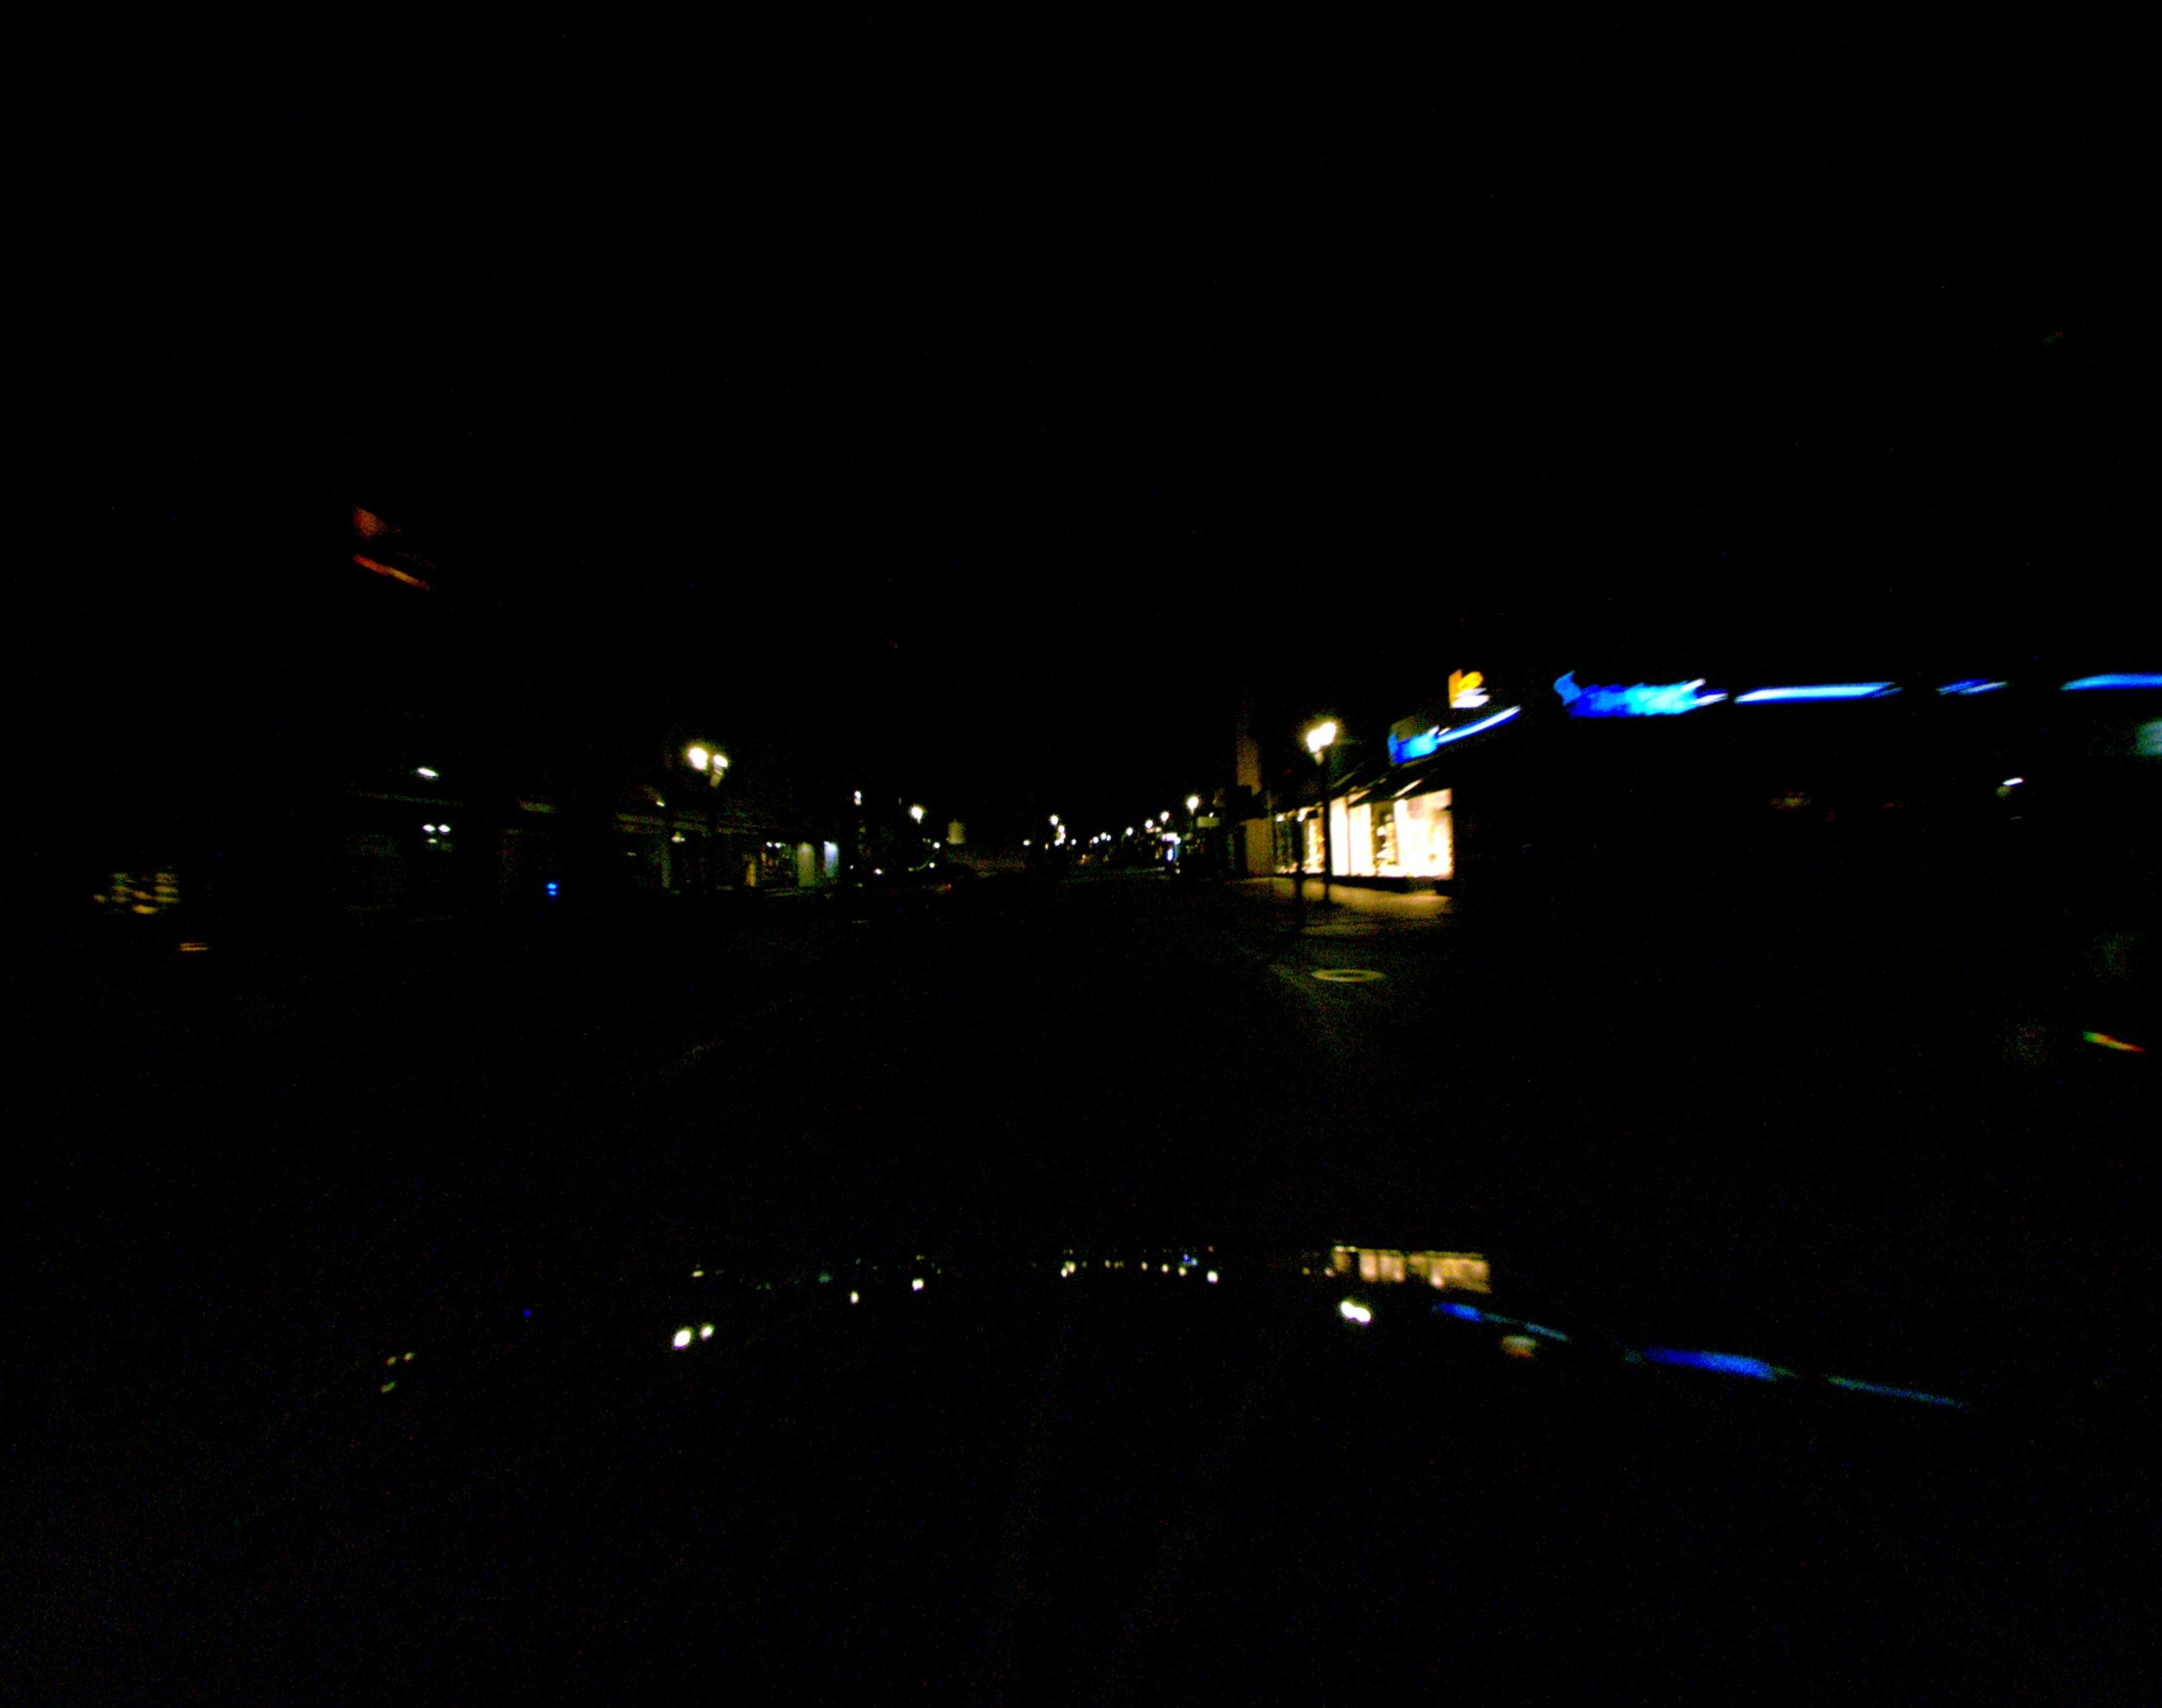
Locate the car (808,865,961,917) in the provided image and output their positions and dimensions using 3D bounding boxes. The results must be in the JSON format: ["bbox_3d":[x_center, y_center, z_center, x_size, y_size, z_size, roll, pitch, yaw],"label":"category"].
[{"bbox_3d":[-6.421,1.160,25.077,4.555,1.447,1.633,-2,0,-33],"label":"car"}]

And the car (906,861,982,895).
[{"bbox_3d":[-6.466,1.105,35.847,3.183,1.447,1.691,-2,0,-25],"label":"car"}]

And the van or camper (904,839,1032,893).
[{"bbox_3d":[-5.790,0.557,39.138,6.060,2.518,2.158,-2,0,-29],"label":"van or camper"}]

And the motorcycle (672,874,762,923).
[{"bbox_3d":[-10.410,1.250,21.801,2.226,1.263,0.531,-2,1,-41],"label":"motorcycle"}]

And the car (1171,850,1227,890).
[{"bbox_3d":[4.777,0.617,31.285,1.655,1.417,4.014,-4,0,1],"label":"car"}]
